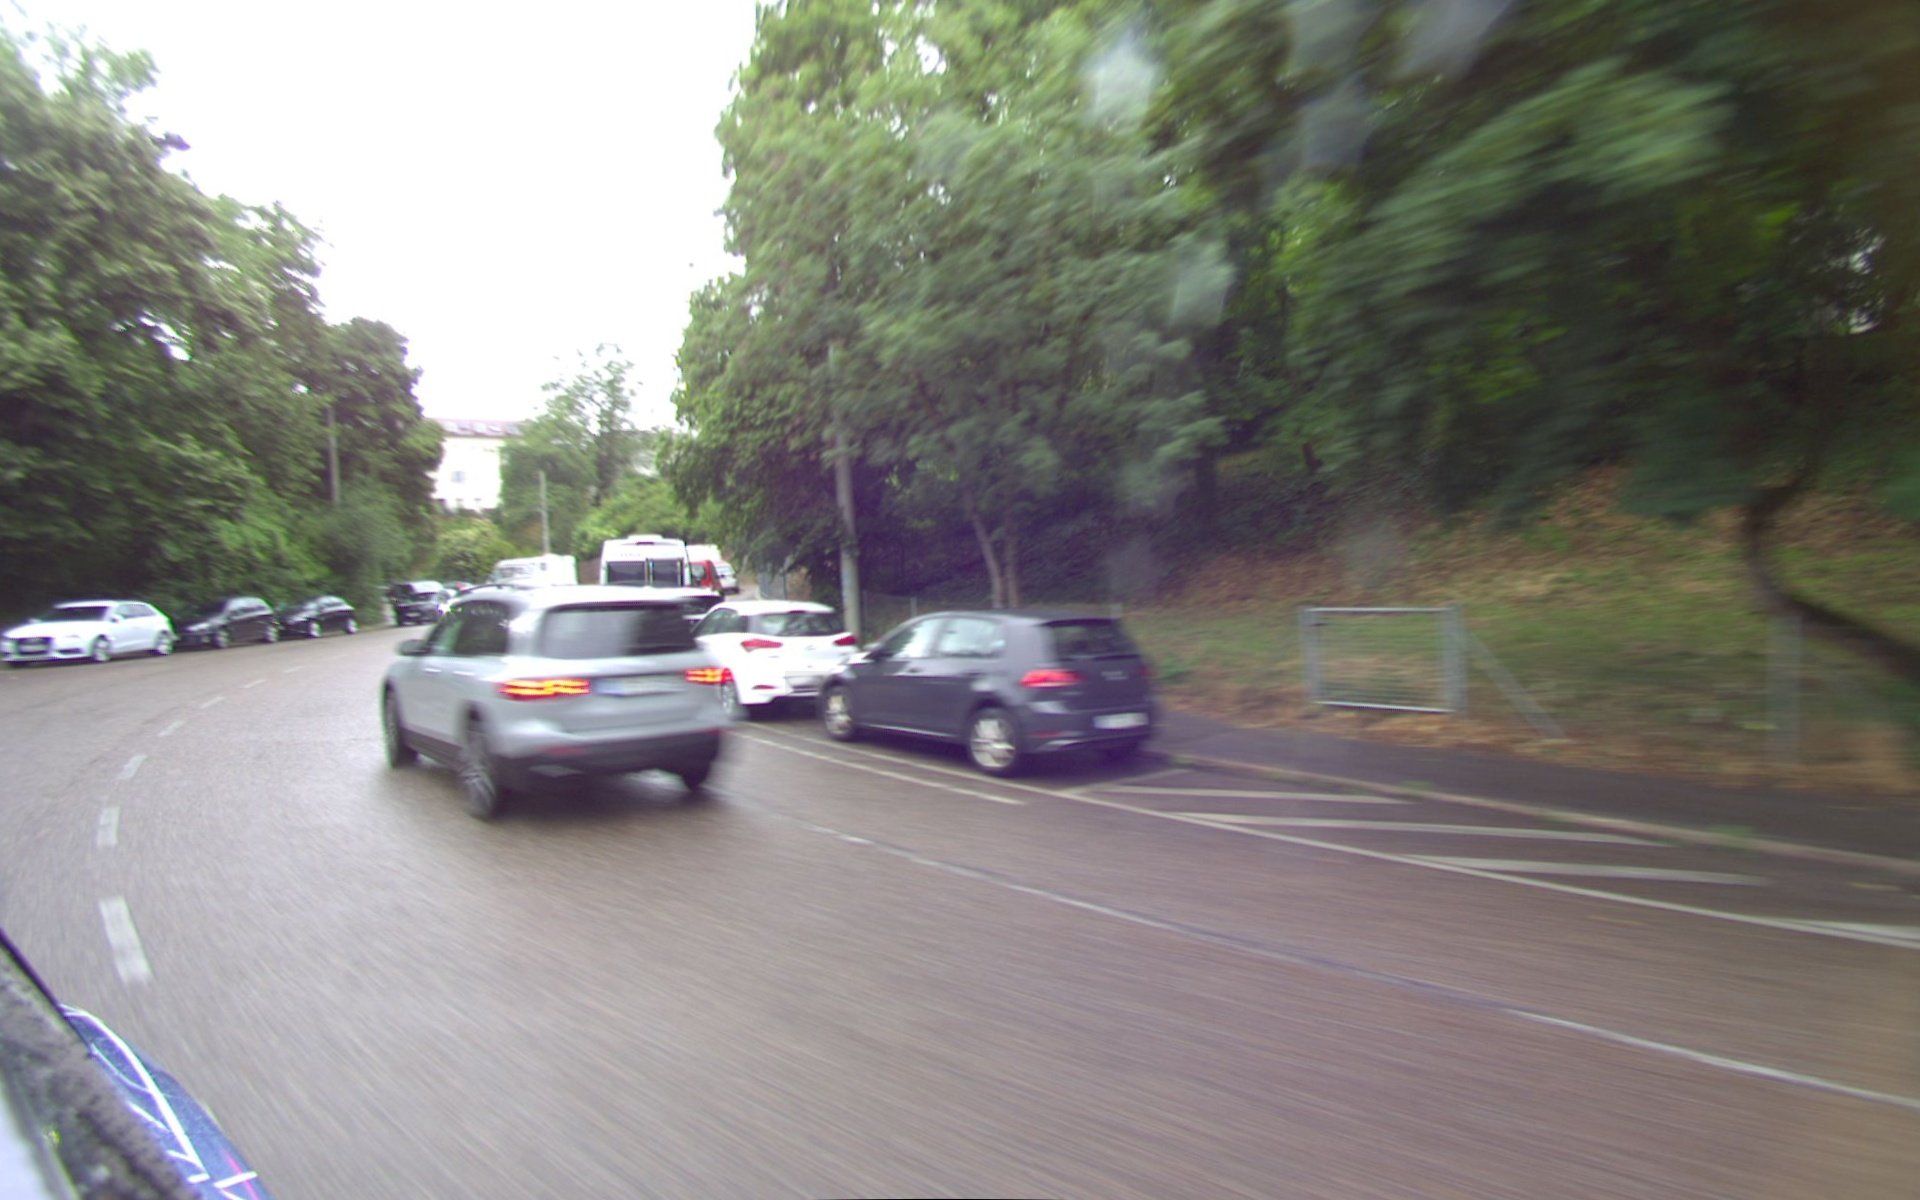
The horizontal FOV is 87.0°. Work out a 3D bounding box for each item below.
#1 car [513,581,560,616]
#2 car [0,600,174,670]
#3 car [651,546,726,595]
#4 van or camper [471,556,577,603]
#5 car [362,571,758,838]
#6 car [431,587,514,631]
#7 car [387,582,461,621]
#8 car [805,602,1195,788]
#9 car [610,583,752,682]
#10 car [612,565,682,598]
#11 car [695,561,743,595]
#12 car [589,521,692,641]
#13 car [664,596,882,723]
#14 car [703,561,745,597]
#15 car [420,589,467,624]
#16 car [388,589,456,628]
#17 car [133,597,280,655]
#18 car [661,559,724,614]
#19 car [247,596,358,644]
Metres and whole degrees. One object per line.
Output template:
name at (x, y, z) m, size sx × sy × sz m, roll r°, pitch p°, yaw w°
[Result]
car at (-21.596, -0.025, 51.531) m, size 1.965 × 1.683 × 4.545 m, roll -1°, pitch -1°, yaw -26°
car at (-20.602, 0.752, 23.797) m, size 1.732 × 1.411 × 4.106 m, roll -3°, pitch 1°, yaw -13°
car at (-16.134, -1.712, 59.835) m, size 2.008 × 2.549 × 6.841 m, roll -6°, pitch 3°, yaw -33°
van or camper at (-31.408, -1.464, 72.854) m, size 7.480 × 2.988 × 2.439 m, roll -2°, pitch 3°, yaw 24°
car at (-3.602, 0.653, 8.614) m, size 1.795 × 1.682 × 4.316 m, roll 0°, pitch 0°, yaw -41°
car at (-19.394, 0.330, 40.474) m, size 1.869 × 1.550 × 4.511 m, roll -3°, pitch 1°, yaw -11°
car at (-30.149, 0.101, 56.830) m, size 5.036 × 1.900 × 1.973 m, roll -1°, pitch 5°, yaw 43°
car at (0.202, 0.763, 10.211) m, size 1.750 × 1.454 × 4.024 m, roll 0°, pitch 0°, yaw -38°
car at (-5.352, 0.500, 19.057) m, size 1.778 × 1.594 × 4.038 m, roll -1°, pitch 2°, yaw -28°
car at (-20.324, -1.178, 65.664) m, size 4.819 × 1.889 × 1.974 m, roll -2°, pitch 4°, yaw 41°
car at (-12.882, -1.156, 53.934) m, size 1.751 × 1.597 × 4.448 m, roll -5°, pitch 3°, yaw -22°
car at (-7.873, -0.569, 25.226) m, size 2.045 × 2.568 × 6.367 m, roll -2°, pitch 3°, yaw -16°
car at (-2.758, 0.693, 14.153) m, size 1.727 × 1.467 × 4.060 m, roll 0°, pitch 1°, yaw -30°
car at (-11.368, -1.017, 48.679) m, size 1.715 × 1.489 × 4.210 m, roll -6°, pitch 3°, yaw -13°
car at (-26.384, 0.273, 51.639) m, size 1.875 × 1.498 × 4.890 m, roll -7°, pitch 4°, yaw -28°
car at (-24.127, 0.355, 45.526) m, size 1.606 × 1.499 × 3.754 m, roll -6°, pitch 2°, yaw -12°
car at (-21.418, 0.679, 28.966) m, size 1.639 × 1.435 × 3.976 m, roll -4°, pitch 1°, yaw -8°
car at (-9.840, -0.567, 37.474) m, size 1.728 × 1.780 × 4.145 m, roll -3°, pitch 3°, yaw -8°
car at (-22.535, 0.637, 34.840) m, size 1.571 × 1.399 × 3.828 m, roll -5°, pitch 1°, yaw -6°
